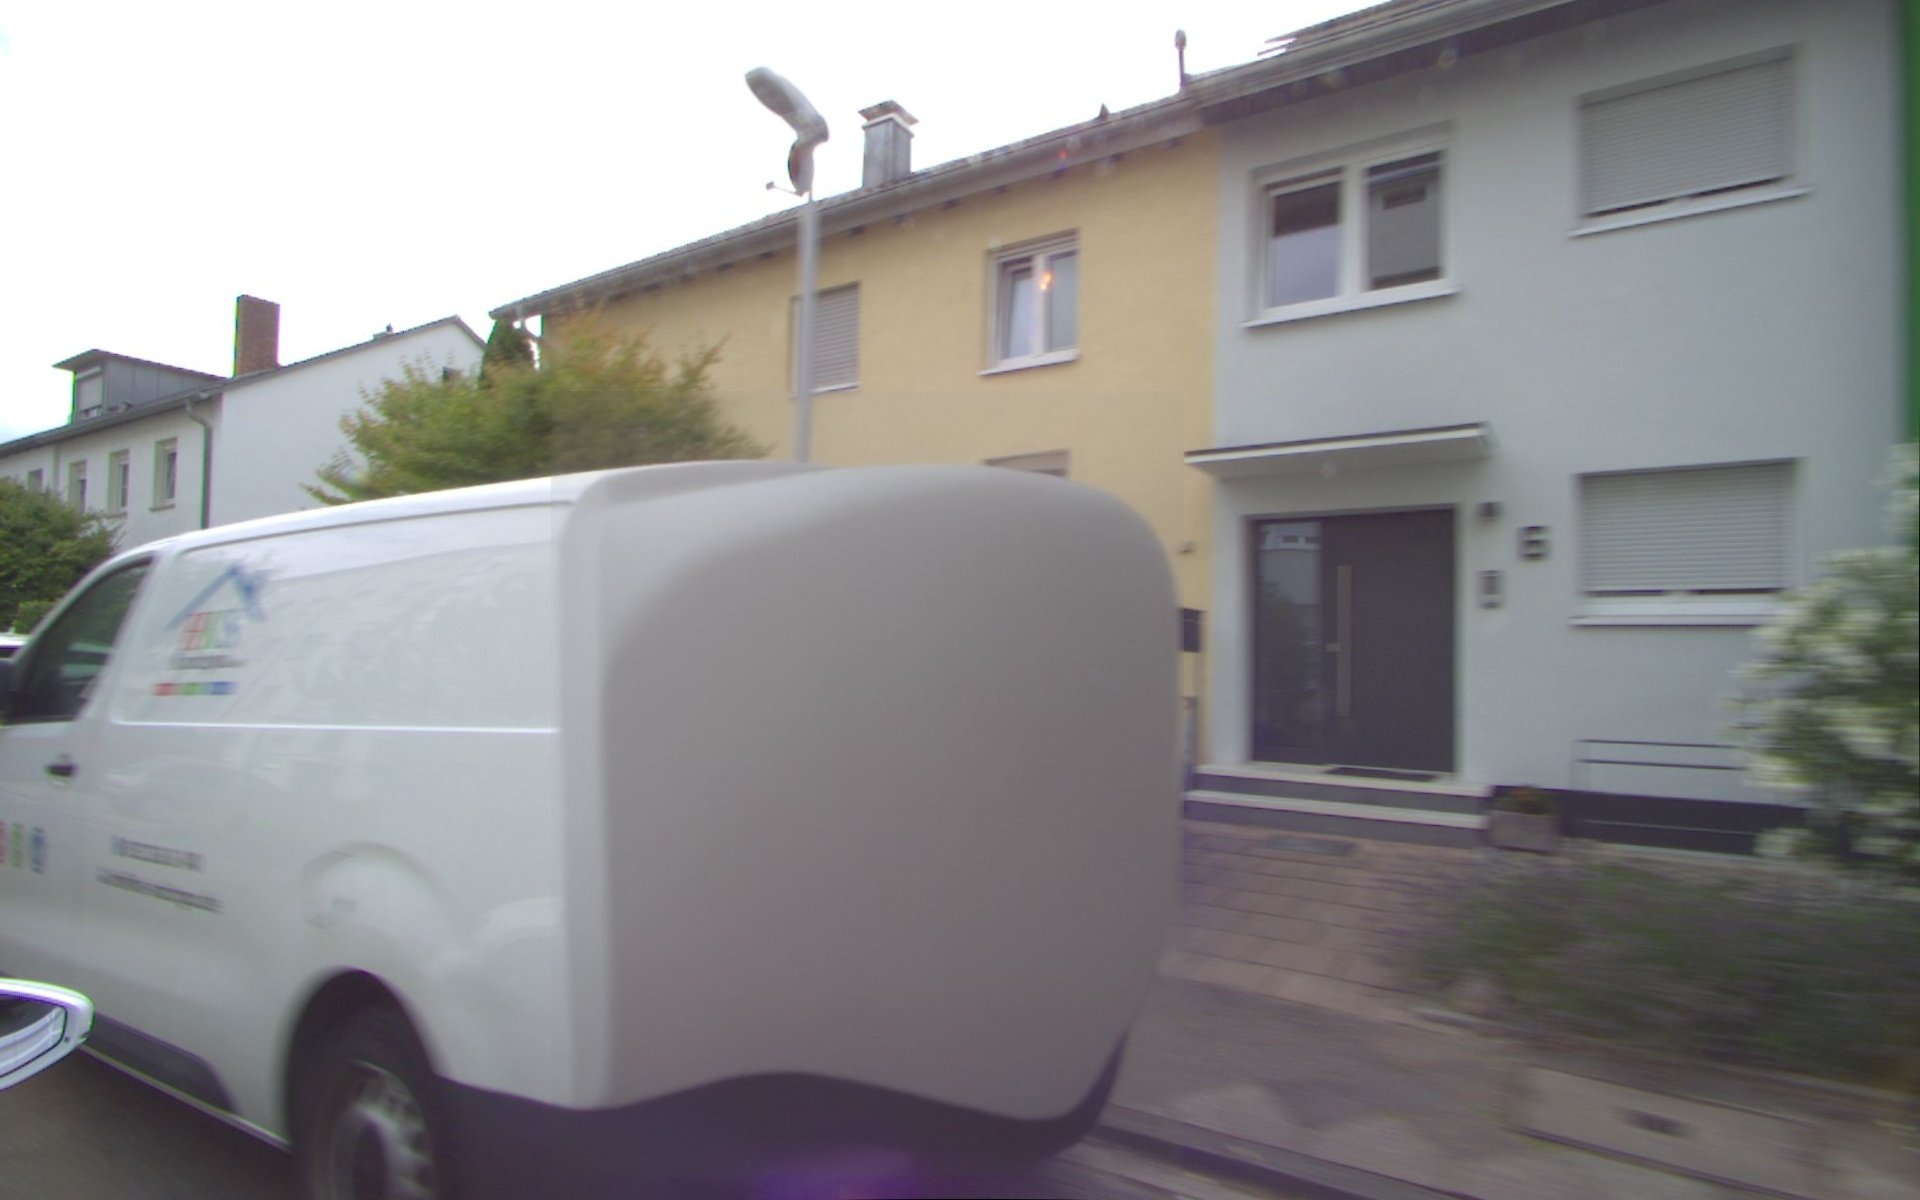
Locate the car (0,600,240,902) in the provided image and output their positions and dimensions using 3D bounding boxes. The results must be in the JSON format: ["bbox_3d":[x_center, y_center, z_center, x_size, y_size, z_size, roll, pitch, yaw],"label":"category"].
[{"bbox_3d":[-6.951,0.869,6.719,4.099,1.655,1.825,0,-5,30],"label":"car"}]

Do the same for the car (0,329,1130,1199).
[{"bbox_3d":[-2.165,0.663,3.755,5.178,1.988,1.902,-1,-5,32],"label":"car"}]
